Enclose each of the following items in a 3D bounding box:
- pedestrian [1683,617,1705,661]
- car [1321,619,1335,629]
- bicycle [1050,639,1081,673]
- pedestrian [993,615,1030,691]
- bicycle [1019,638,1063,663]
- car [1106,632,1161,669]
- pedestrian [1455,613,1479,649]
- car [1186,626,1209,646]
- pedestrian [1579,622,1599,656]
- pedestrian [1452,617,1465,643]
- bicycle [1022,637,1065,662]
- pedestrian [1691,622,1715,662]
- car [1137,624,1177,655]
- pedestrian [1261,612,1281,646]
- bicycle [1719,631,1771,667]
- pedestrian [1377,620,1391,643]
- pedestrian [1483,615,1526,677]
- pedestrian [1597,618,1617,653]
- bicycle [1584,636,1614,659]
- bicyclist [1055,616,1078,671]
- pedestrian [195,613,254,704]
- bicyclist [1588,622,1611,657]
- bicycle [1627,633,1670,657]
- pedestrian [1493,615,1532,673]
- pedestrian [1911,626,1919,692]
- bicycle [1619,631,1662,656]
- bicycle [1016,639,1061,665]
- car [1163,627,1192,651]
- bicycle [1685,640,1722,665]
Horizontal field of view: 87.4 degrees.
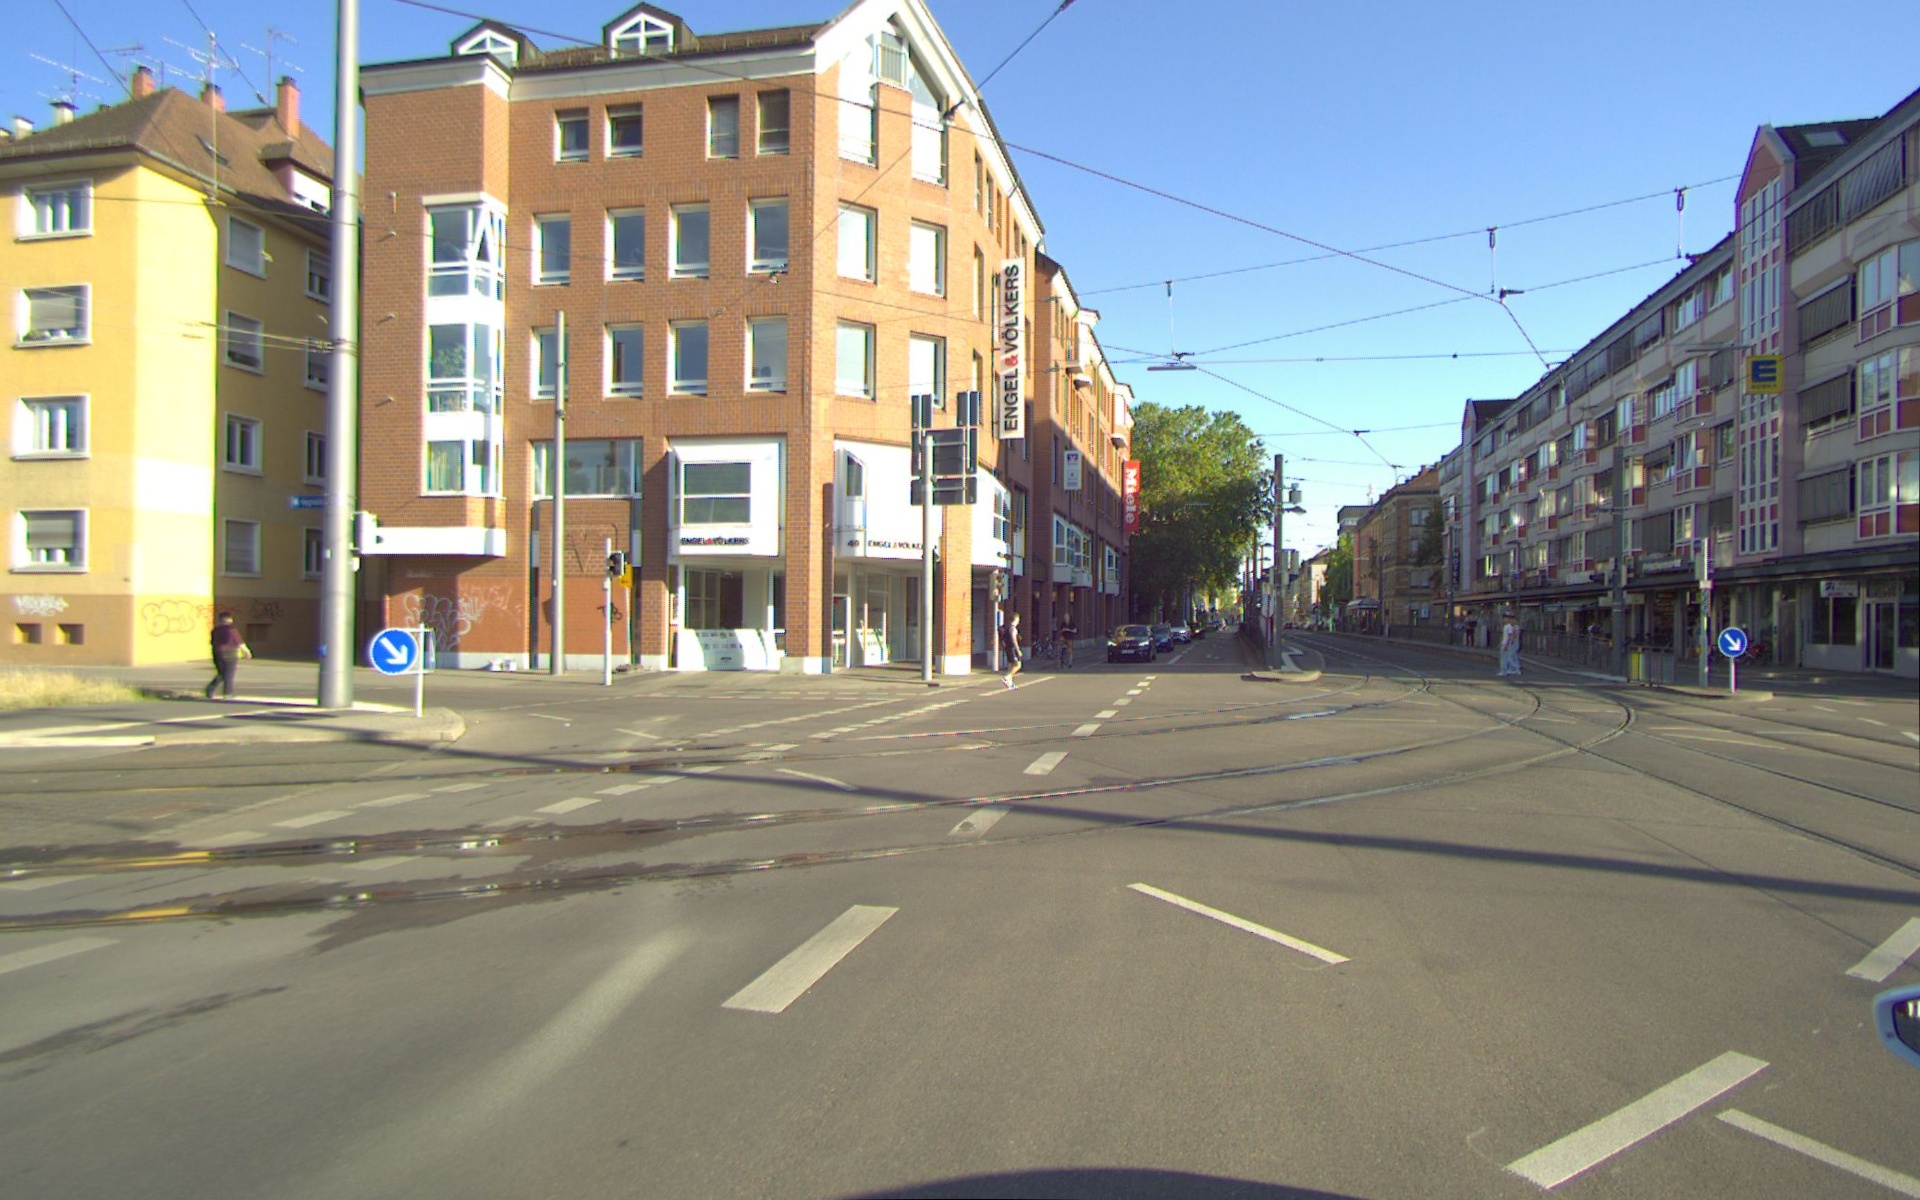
[{"bbox_3d":[32.295,1.704,44.189,0.599,1.877,0.603,1,1,20],"label":"pedestrian"},{"bbox_3d":[62.535,4.139,170.881,1.960,1.573,4.001,1,1,17],"label":"car"},{"bbox_3d":[3.745,1.966,35.523,0.622,1.063,1.837,1,1,20],"label":"bicycle"},{"bbox_3d":[1.245,1.264,24.235,0.813,1.781,0.696,0,1,-4],"label":"pedestrian"},{"bbox_3d":[3.386,2.115,41.962,1.800,0.974,0.544,0,1,13],"label":"bicycle"},{"bbox_3d":[7.131,2.039,41.063,1.715,1.261,3.938,1,1,17],"label":"car"},{"bbox_3d":[23.898,1.468,47.368,0.765,1.682,0.684,0,1,5],"label":"pedestrian"},{"bbox_3d":[20.216,3.046,85.418,1.715,1.444,3.938,1,1,16],"label":"car"},{"bbox_3d":[31.989,1.981,51.089,0.738,1.667,0.550,1,1,20],"label":"pedestrian"},{"bbox_3d":[39.681,2.403,79.987,0.825,2.041,0.777,1,1,20],"label":"pedestrian"},{"bbox_3d":[3.573,2.106,42.925,1.800,0.974,0.544,0,1,13],"label":"bicycle"},{"bbox_3d":[31.068,1.754,41.994,0.597,1.657,0.605,0,1,-34],"label":"pedestrian"},{"bbox_3d":[10.380,2.032,52.809,1.715,1.444,3.938,1,1,16],"label":"car"},{"bbox_3d":[14.785,1.378,47.749,0.679,1.599,0.620,0,1,-10],"label":"pedestrian"},{"bbox_3d":[29.424,1.821,37.697,0.715,1.243,2.333,1,-1,16],"label":"bicycle"},{"bbox_3d":[31.072,2.284,73.601,0.765,1.682,0.684,0,1,5],"label":"pedestrian"},{"bbox_3d":[15.923,1.329,29.362,0.987,1.788,0.510,0,1,-9],"label":"pedestrian"},{"bbox_3d":[33.934,1.855,52.685,0.808,1.802,0.677,1,1,40],"label":"pedestrian"},{"bbox_3d":[28.757,2.144,45.228,0.616,0.942,1.911,-3,-1,17],"label":"bicycle"},{"bbox_3d":[3.773,1.535,35.572,0.622,1.904,0.810,1,1,21],"label":"bicyclist"},{"bbox_3d":[-13.515,1.050,18.461,0.600,1.610,0.784,1,1,44],"label":"pedestrian"},{"bbox_3d":[28.716,1.770,45.136,0.616,1.553,0.802,-3,-1,18],"label":"bicyclist"},{"bbox_3d":[32.980,2.146,48.106,1.616,1.134,0.484,0,1,10],"label":"bicycle"},{"bbox_3d":[16.590,1.306,30.183,0.855,1.717,0.620,0,1,-21],"label":"pedestrian"},{"bbox_3d":[24.728,1.506,25.430,0.623,1.684,0.715,1,-1,-13],"label":"pedestrian"},{"bbox_3d":[33.491,2.136,49.441,1.616,1.134,0.566,0,1,10],"label":"bicycle"},{"bbox_3d":[3.212,2.124,41.151,1.800,0.974,0.544,0,1,13],"label":"bicycle"},{"bbox_3d":[15.056,2.694,69.427,1.715,1.444,3.938,1,1,16],"label":"car"},{"bbox_3d":[30.079,2.098,40.661,0.491,0.929,2.079,1,-1,16],"label":"bicycle"}]
